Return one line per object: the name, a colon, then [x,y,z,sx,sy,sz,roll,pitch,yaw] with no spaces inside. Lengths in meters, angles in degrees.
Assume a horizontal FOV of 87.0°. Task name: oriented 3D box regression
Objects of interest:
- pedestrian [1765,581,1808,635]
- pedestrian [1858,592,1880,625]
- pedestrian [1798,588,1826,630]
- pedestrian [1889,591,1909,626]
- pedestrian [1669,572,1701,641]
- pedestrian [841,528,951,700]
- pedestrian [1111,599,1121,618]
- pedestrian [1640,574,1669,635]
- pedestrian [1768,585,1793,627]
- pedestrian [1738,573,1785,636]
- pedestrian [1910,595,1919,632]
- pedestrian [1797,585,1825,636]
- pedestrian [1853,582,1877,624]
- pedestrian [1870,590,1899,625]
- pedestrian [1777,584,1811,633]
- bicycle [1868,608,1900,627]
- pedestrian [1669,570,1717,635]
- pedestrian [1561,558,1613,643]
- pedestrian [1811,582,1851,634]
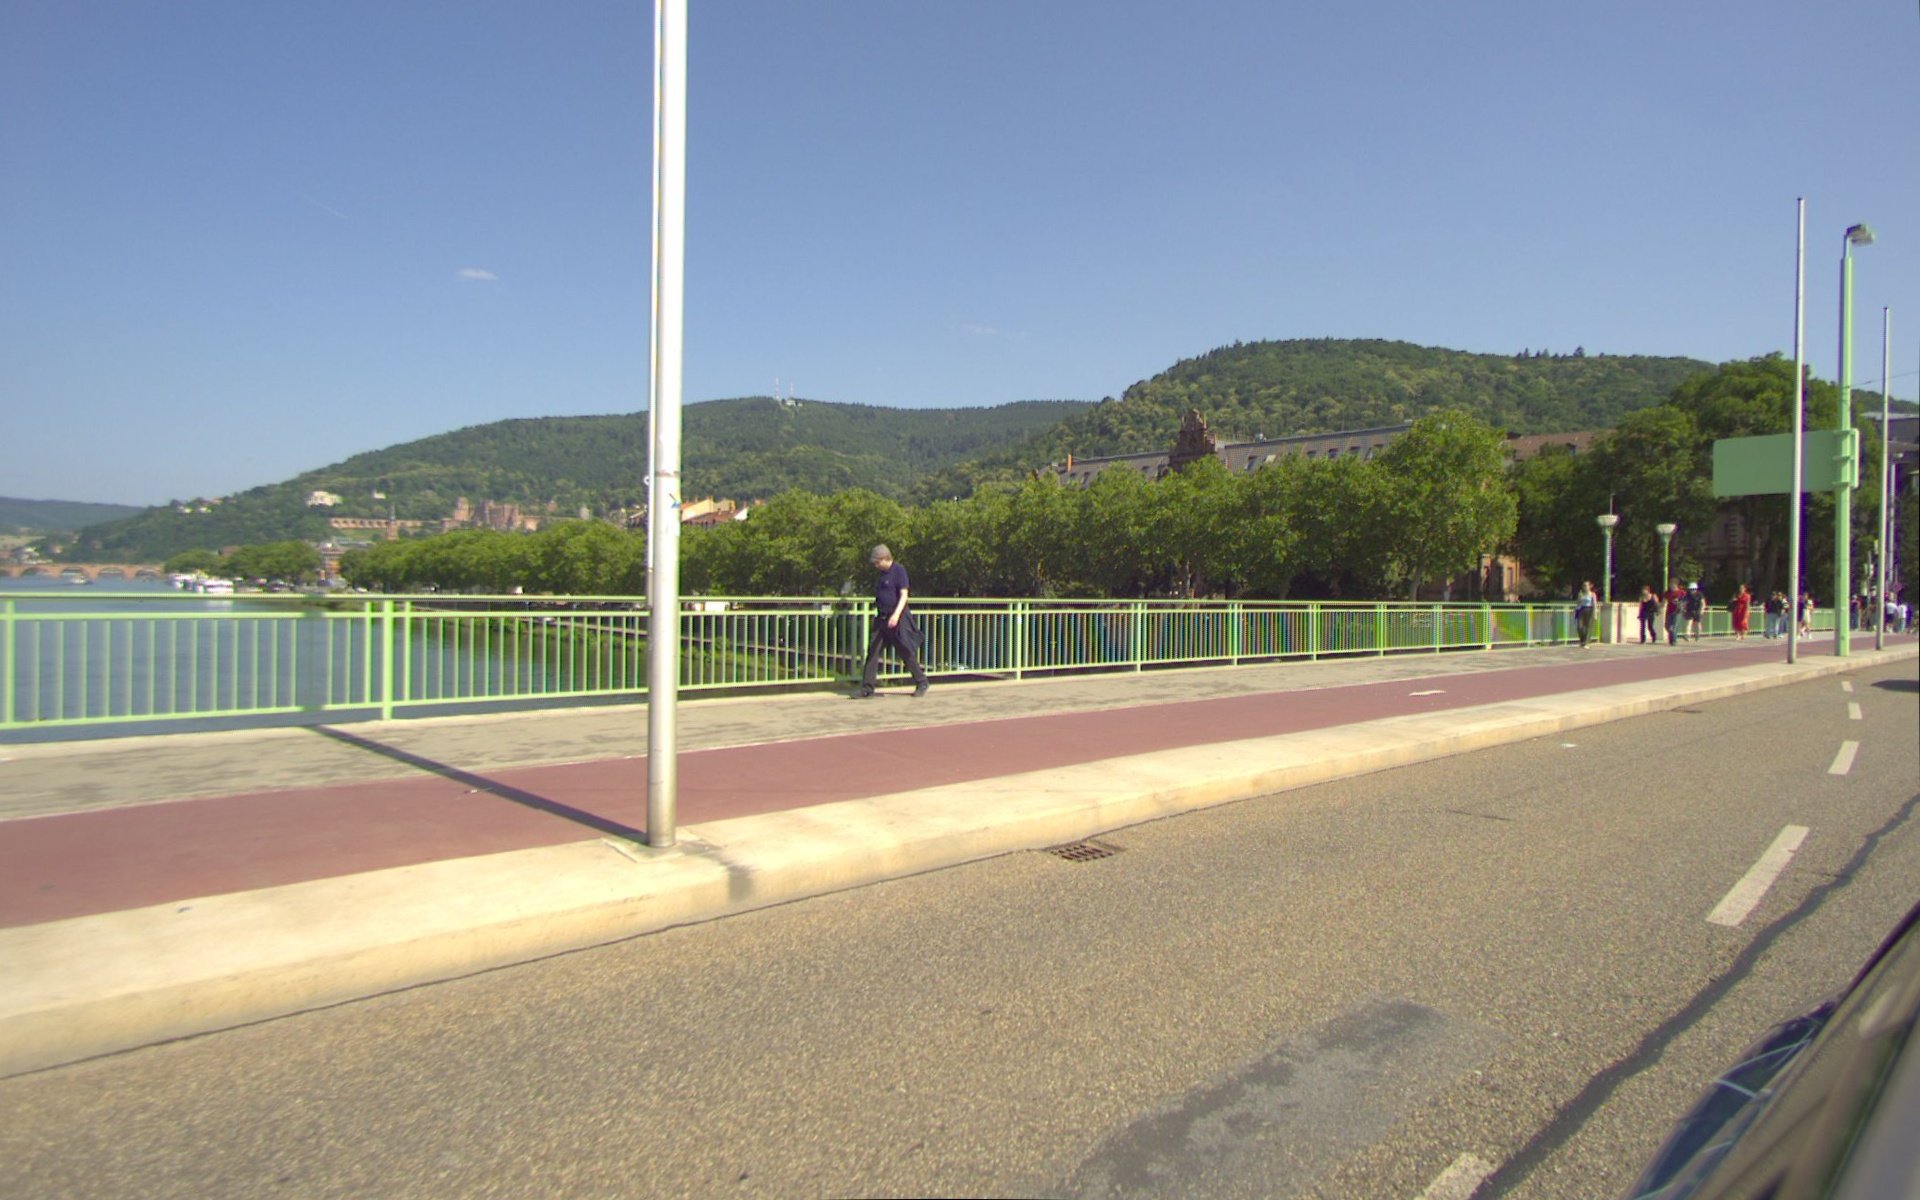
pedestrian: [28.466,0.259,34.845,0.985,1.791,1.234,3,2,44]
pedestrian: [47.250,0.428,52.612,0.799,1.655,0.934,2,1,44]
pedestrian: [32.801,0.340,38.963,0.679,1.582,0.651,2,1,-39]
pedestrian: [46.689,0.406,50.319,0.696,1.738,0.720,1,1,44]
pedestrian: [19.639,0.167,27.404,0.622,1.816,0.585,0,1,-45]
pedestrian: [-0.689,0.143,10.977,0.655,1.766,0.962,1,-1,44]
pedestrian: [14.831,0.845,96.308,0.740,1.798,0.666,0,-1,45]
pedestrian: [19.185,0.116,27.945,0.523,1.670,0.688,1,1,44]
pedestrian: [32.099,0.230,39.582,0.679,1.652,0.651,1,-1,-39]
pedestrian: [25.520,0.128,32.229,0.923,1.978,1.017,0,1,-42]
pedestrian: [47.335,0.654,49.997,0.549,1.821,0.635,1,1,44]
pedestrian: [28.622,0.336,34.033,0.654,1.670,0.854,1,1,44]
pedestrian: [44.475,0.122,49.736,0.803,2.039,0.939,1,1,44]
pedestrian: [44.914,0.357,49.146,0.985,1.635,0.907,1,1,44]
pedestrian: [29.811,0.282,36.175,0.834,1.698,0.871,1,1,44]
bicycle: [66.961,1.249,73.341,2.228,1.219,0.805,-3,4,-23]
pedestrian: [22.322,0.057,30.826,0.985,1.918,1.234,1,1,45]
pedestrian: [15.436,0.003,24.918,0.874,2.039,1.042,1,1,44]
pedestrian: [30.654,0.264,35.621,0.985,1.772,0.915,1,1,44]
